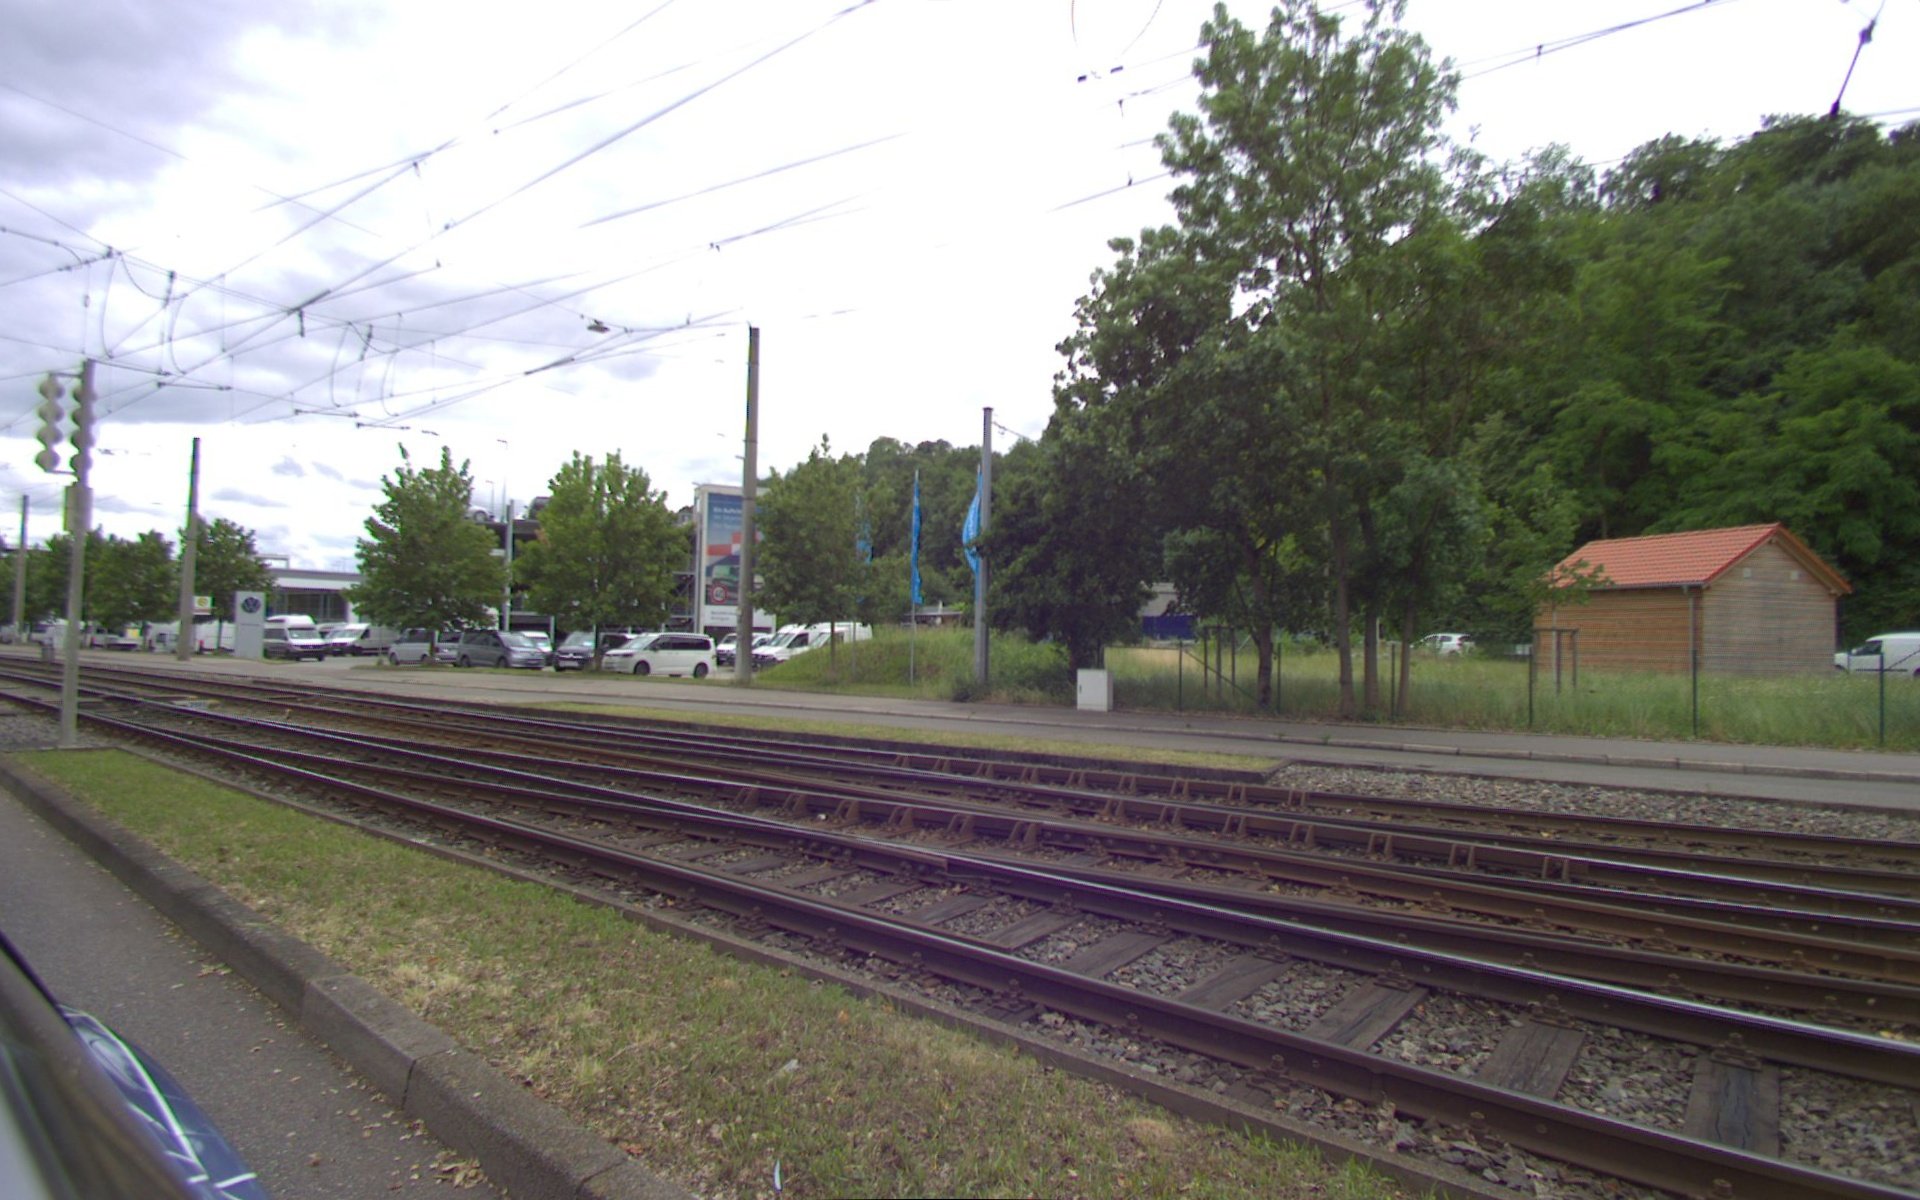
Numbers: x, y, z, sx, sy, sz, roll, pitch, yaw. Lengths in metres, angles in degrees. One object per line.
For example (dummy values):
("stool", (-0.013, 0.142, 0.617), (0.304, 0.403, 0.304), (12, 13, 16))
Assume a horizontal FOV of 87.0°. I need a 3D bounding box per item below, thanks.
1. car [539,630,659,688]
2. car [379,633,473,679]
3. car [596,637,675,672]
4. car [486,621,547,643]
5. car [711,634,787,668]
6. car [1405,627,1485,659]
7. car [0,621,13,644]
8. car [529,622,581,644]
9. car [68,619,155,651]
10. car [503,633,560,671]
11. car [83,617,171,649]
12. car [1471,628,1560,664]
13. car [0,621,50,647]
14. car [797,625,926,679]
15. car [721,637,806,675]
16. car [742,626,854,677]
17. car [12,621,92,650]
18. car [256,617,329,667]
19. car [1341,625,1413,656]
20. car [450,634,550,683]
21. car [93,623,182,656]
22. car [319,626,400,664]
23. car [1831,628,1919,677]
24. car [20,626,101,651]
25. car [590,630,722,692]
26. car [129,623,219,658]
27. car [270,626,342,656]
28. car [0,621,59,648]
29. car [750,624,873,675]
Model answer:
("car", (-15.988, 2.549, 45.052), (1.977, 2.284, 4.717), (-1, 0, 37))
("car", (-27.044, 2.778, 51.208), (4.761, 2.132, 2.119), (-1, 0, 32))
("car", (-19.421, 3.205, 60.621), (4.165, 1.850, 1.986), (-1, 0, -31))
("car", (-41.808, 2.969, 95.385), (5.138, 1.850, 1.986), (-1, 0, -29))
("car", (-12.976, 3.105, 62.222), (4.165, 1.850, 1.986), (-1, 0, -31))
("car", (26.490, 2.319, 55.391), (1.727, 1.625, 3.693), (-1, 0, -25))
("car", (-94.074, 3.179, 96.860), (2.102, 2.225, 4.589), (-1, 0, 32))
("car", (-36.929, 2.955, 92.312), (4.164, 1.850, 1.986), (-1, 0, -29))
("car", (-63.856, 2.615, 76.228), (2.102, 2.225, 4.589), (-1, 0, 32))
("car", (-24.510, 2.927, 57.817), (1.872, 1.907, 4.606), (-1, 0, -38))
("car", (-61.478, 2.386, 74.744), (2.102, 2.225, 4.589), (-1, 0, 32))
("car", (28.186, 2.298, 51.436), (1.727, 1.625, 3.693), (-1, 0, -22))
("car", (-85.619, 3.070, 91.520), (2.102, 2.225, 4.589), (-1, 0, 32))
("car", (-4.693, 2.413, 48.369), (5.762, 2.284, 2.060), (-1, 0, -28))
("car", (-10.912, 3.060, 56.260), (4.165, 1.850, 1.986), (-1, 0, -31))
("car", (-8.672, 2.717, 54.277), (5.568, 2.479, 1.986), (-1, 0, -31))
("car", (-75.573, 2.940, 84.277), (2.102, 2.225, 4.589), (-1, 0, 32))
("car", (-43.175, 2.656, 65.417), (6.154, 3.034, 2.291), (-1, 0, 40))
("car", (24.479, 2.344, 59.463), (1.727, 1.625, 3.693), (-1, 0, -25))
("car", (-21.768, 2.709, 47.814), (4.763, 2.132, 2.118), (-1, 0, 34))
("car", (-59.496, 2.813, 73.296), (2.102, 2.225, 4.589), (-1, 0, 32))
("car", (-46.471, 3.429, 78.525), (2.293, 2.642, 6.036), (-1, 0, 6))
("car", (34.189, 1.866, 36.534), (1.877, 1.625, 3.693), (-1, 0, -22))
("car", (-73.598, 3.100, 82.881), (2.102, 1.854, 4.589), (-1, 0, 32))
("car", (-12.841, 2.522, 43.103), (1.997, 2.284, 5.206), (-1, 0, 37))
("car", (-54.940, 2.805, 70.819), (2.102, 2.225, 4.589), (-1, 0, 32))
("car", (-53.657, 3.314, 83.128), (2.107, 2.225, 4.579), (-1, 0, 39))
("car", (-83.596, 3.043, 90.146), (2.102, 2.225, 4.589), (-1, 0, 32))
("car", (-7.439, 2.448, 51.017), (5.751, 2.284, 2.060), (-1, 0, -28))
